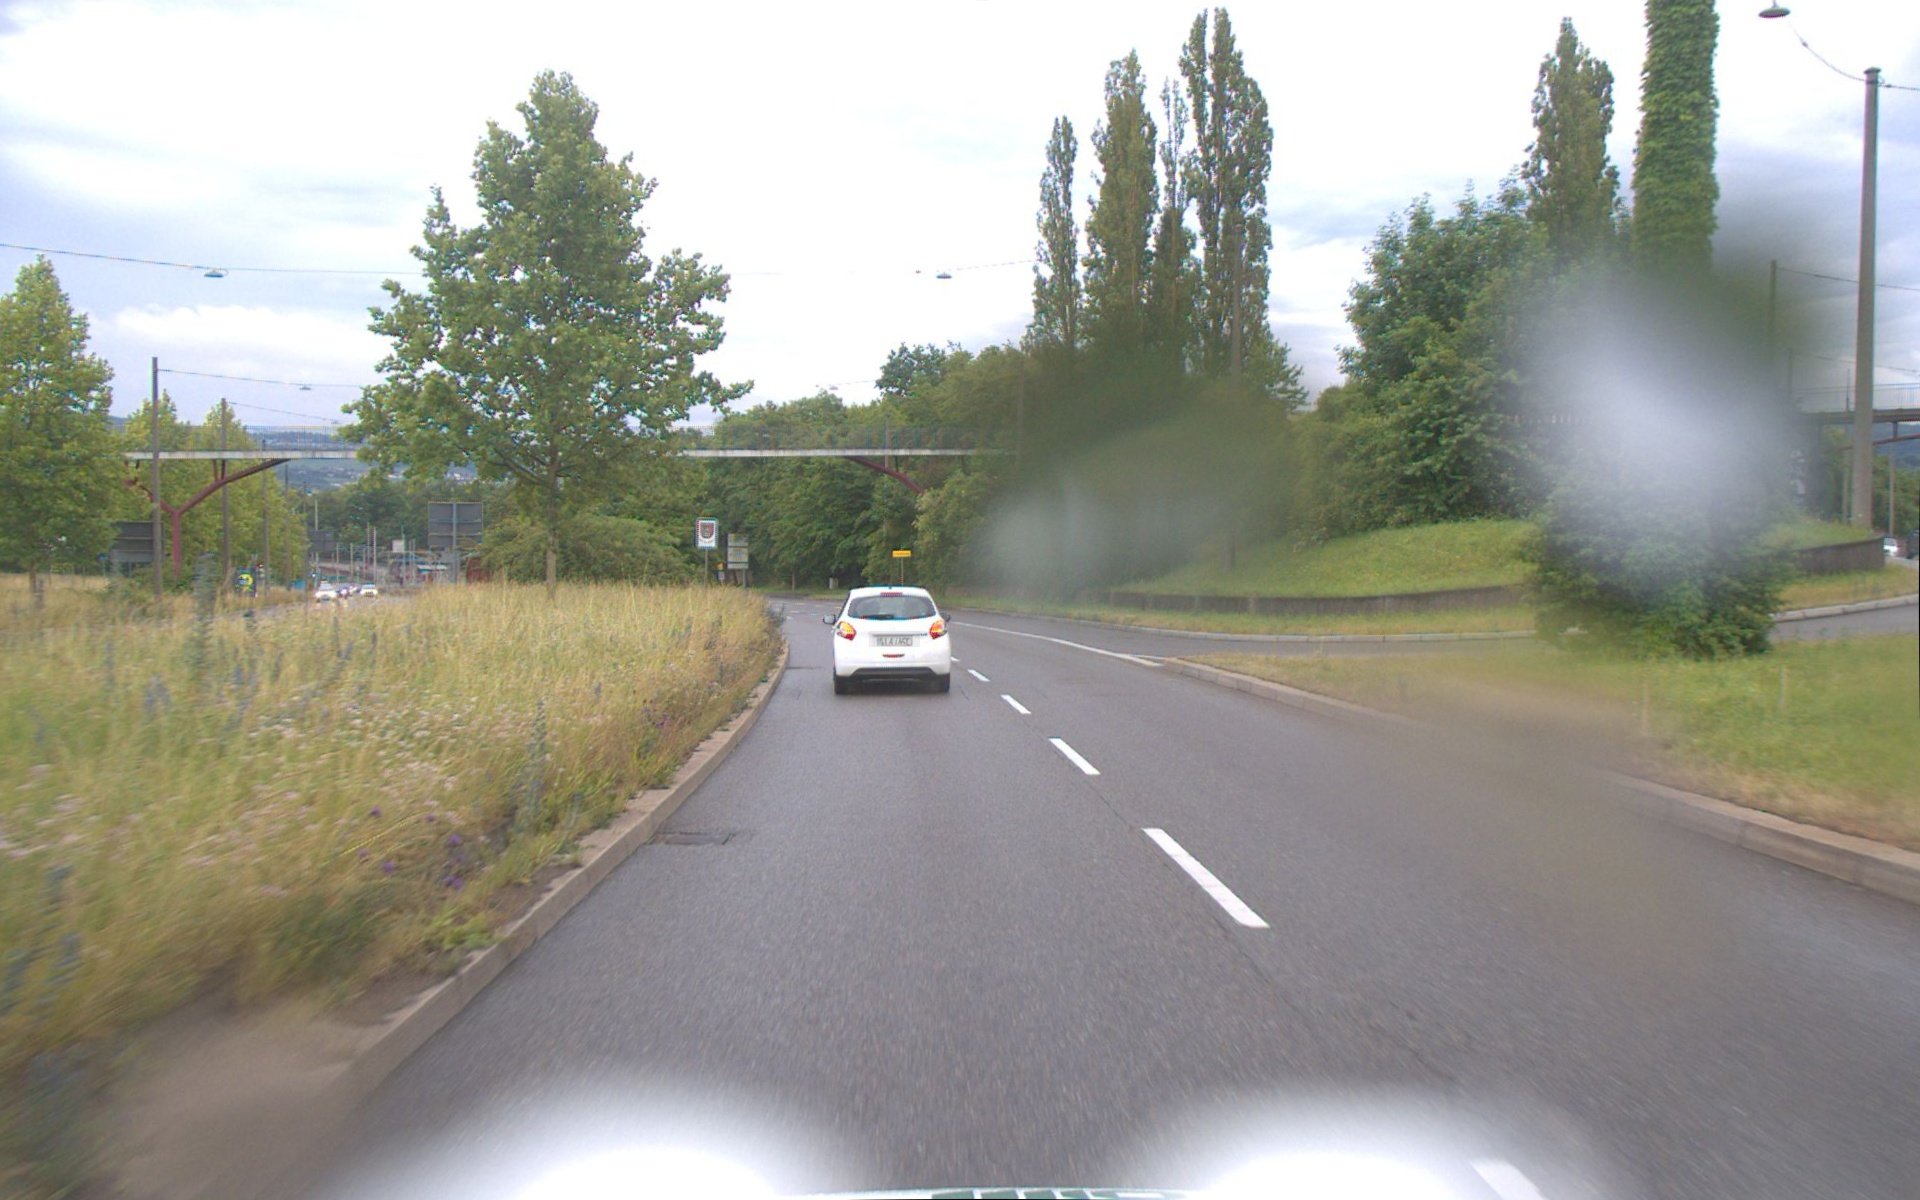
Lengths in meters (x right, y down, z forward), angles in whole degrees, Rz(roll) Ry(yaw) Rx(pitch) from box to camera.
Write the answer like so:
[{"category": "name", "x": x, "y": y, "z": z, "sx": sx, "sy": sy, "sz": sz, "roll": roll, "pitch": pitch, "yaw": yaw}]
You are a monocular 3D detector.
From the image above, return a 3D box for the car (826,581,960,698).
[{"category": "car", "x": -0.994, "y": 0.515, "z": 24.565, "sx": 1.831, "sy": 1.537, "sz": 3.898, "roll": 0, "pitch": 1, "yaw": -2}]

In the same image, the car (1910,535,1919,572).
[{"category": "car", "x": 38.031, "y": -1.801, "z": 64.074, "sx": 1.636, "sy": 1.438, "sz": 3.917, "roll": 1, "pitch": 1, "yaw": 23}]
